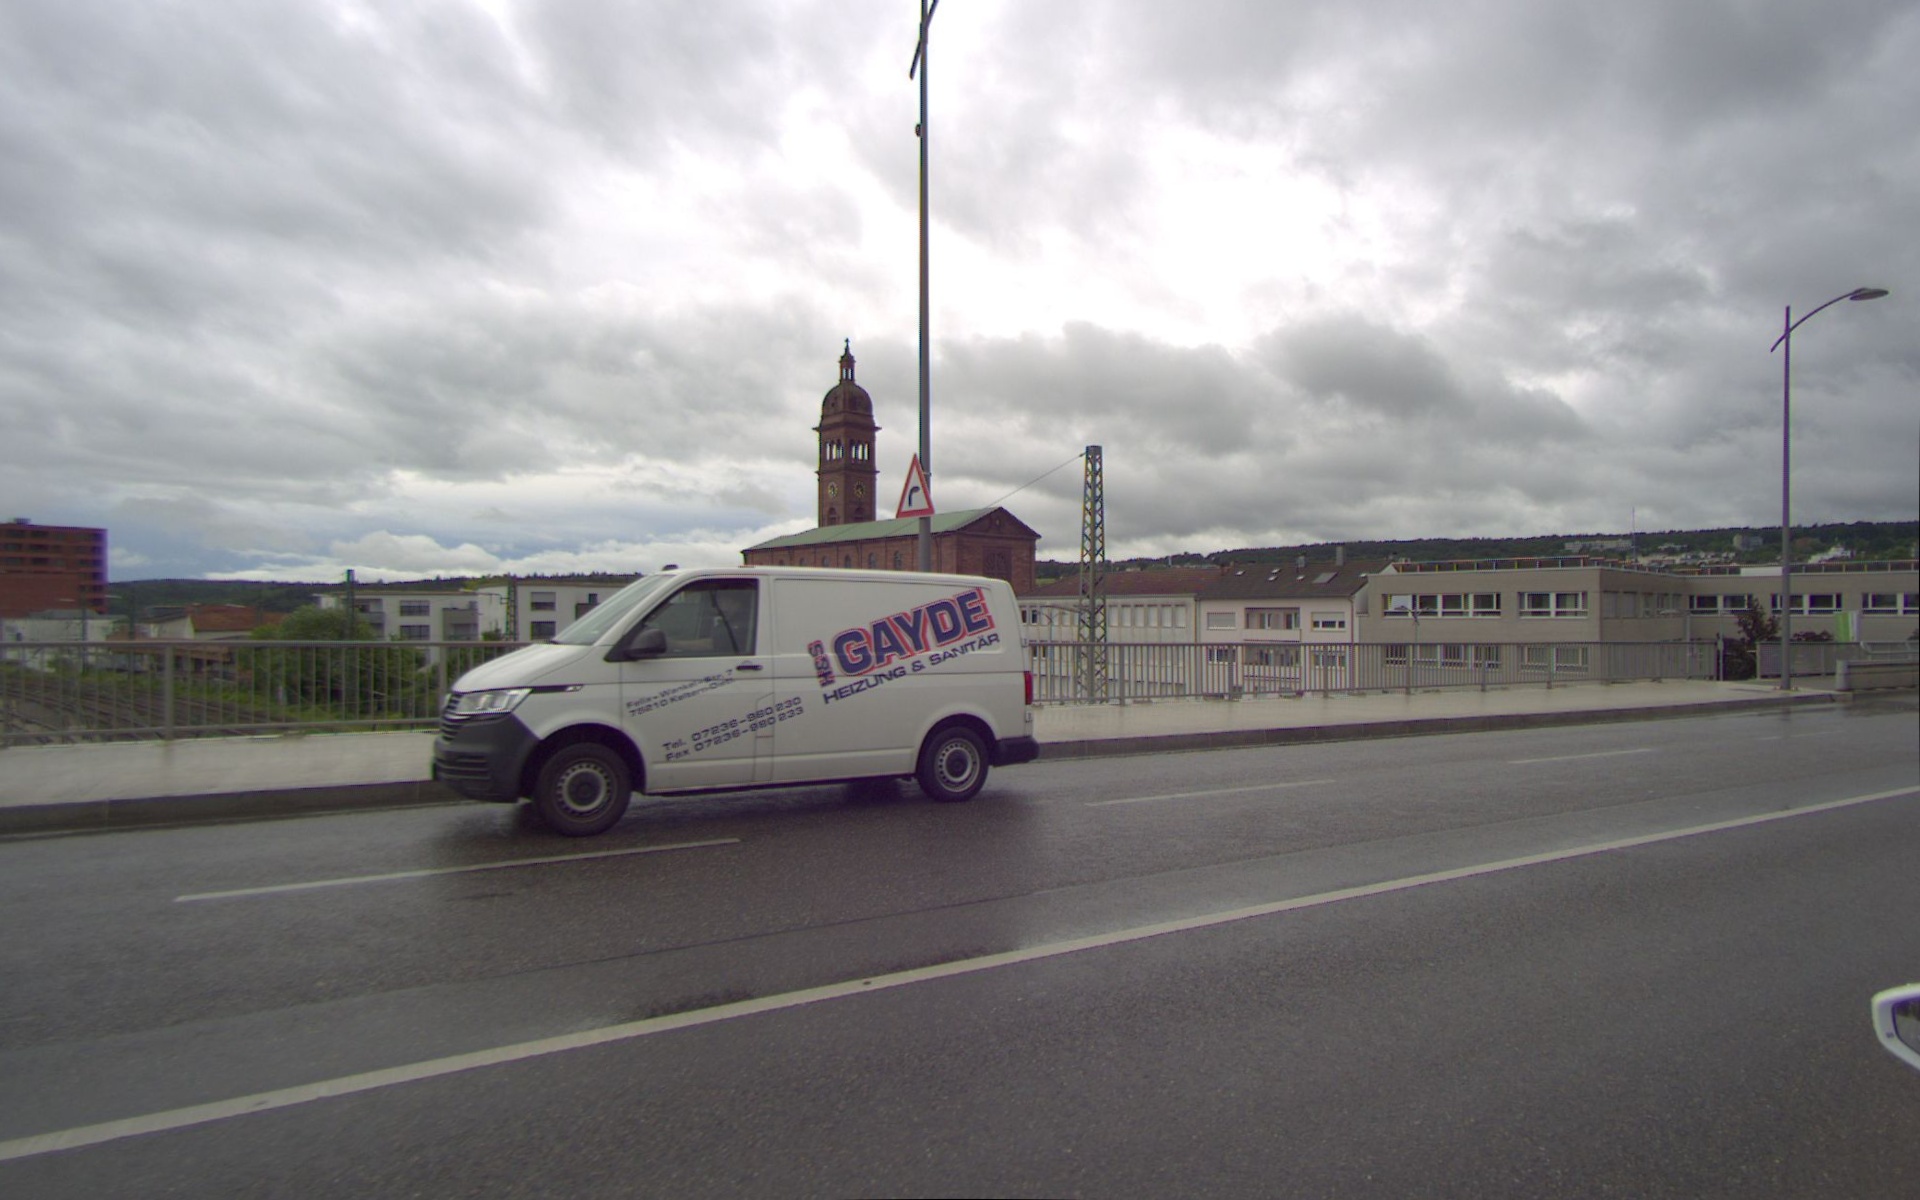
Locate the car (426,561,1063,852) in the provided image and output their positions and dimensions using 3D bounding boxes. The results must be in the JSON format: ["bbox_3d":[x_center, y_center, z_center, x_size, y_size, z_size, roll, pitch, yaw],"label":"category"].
[{"bbox_3d":[-1.684,0.683,8.412,4.898,1.846,1.878,0,0,-30],"label":"car"}]
